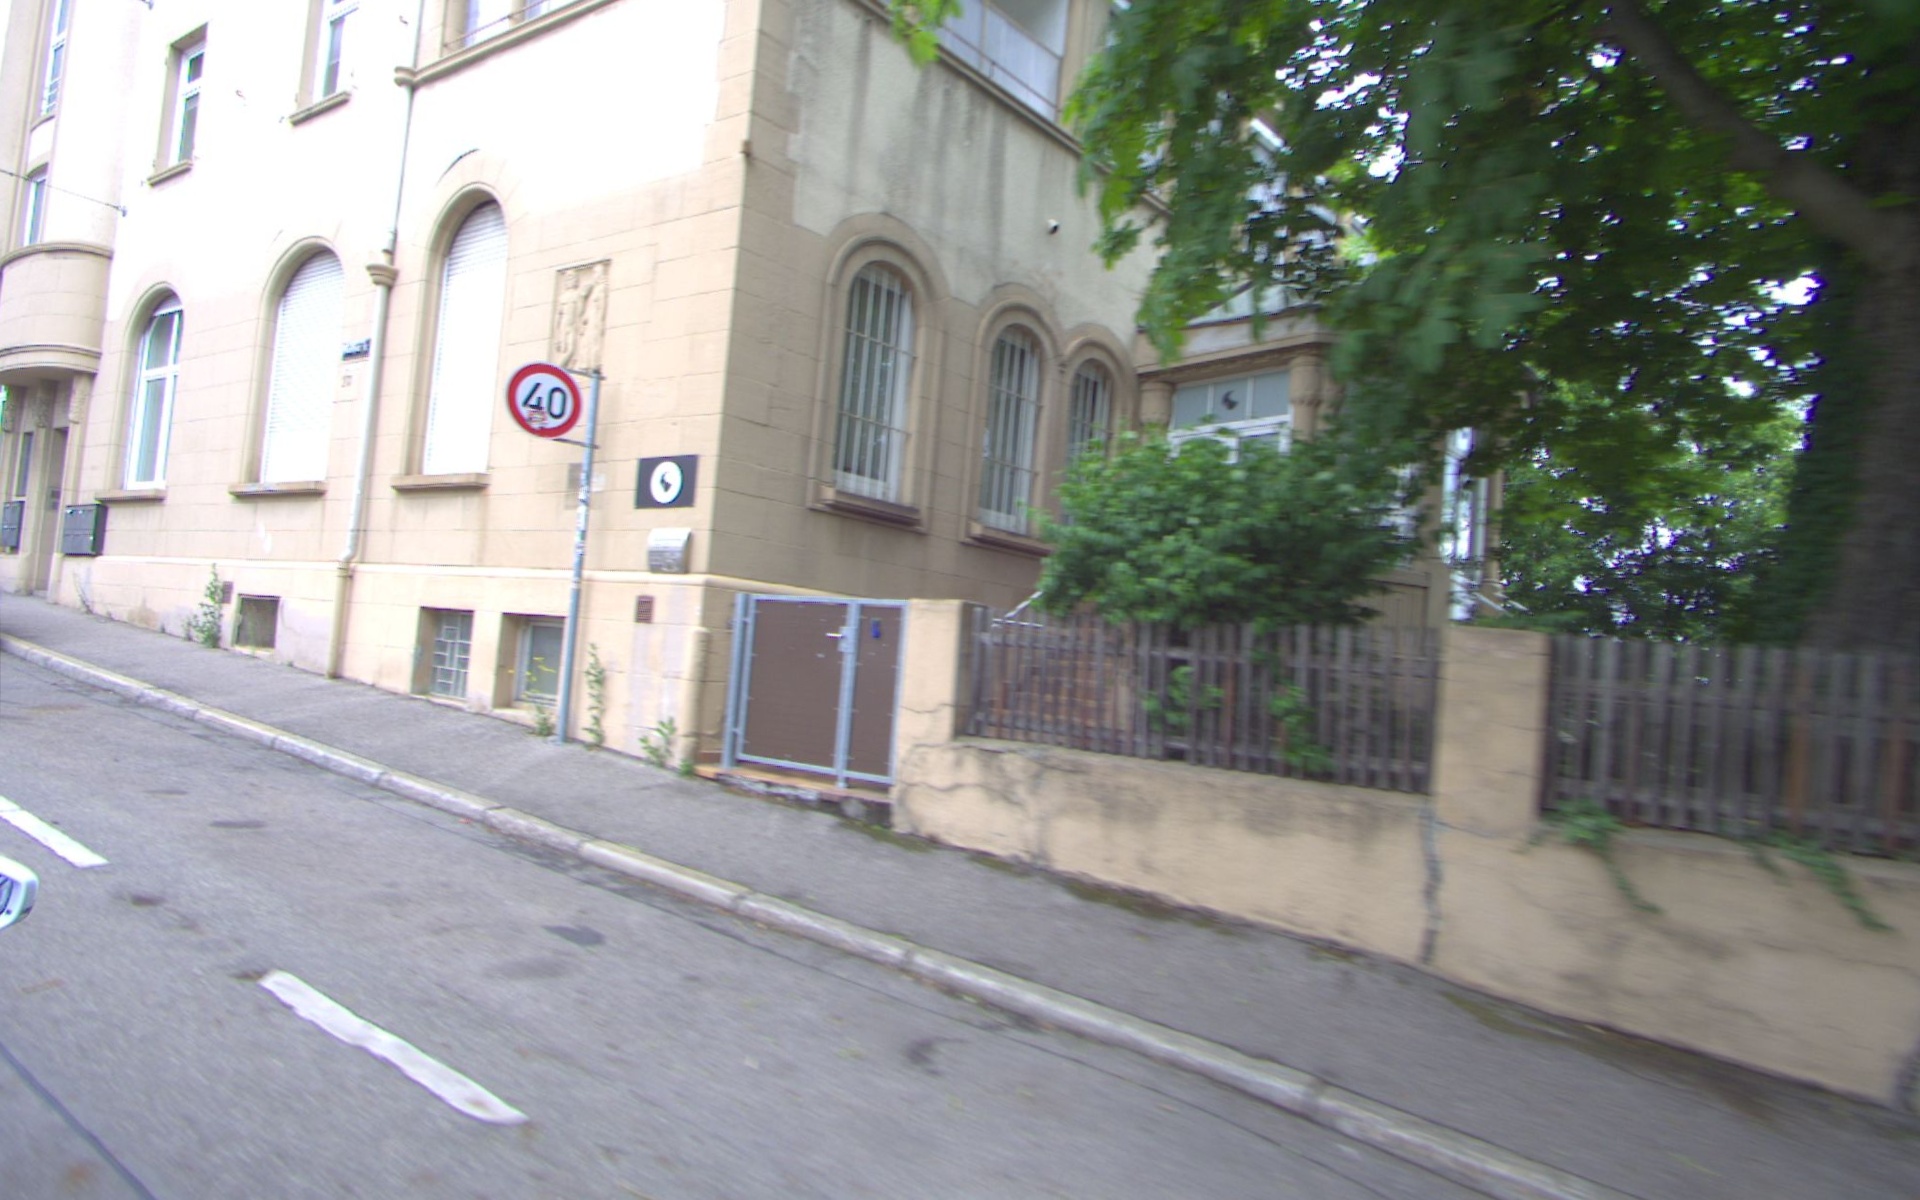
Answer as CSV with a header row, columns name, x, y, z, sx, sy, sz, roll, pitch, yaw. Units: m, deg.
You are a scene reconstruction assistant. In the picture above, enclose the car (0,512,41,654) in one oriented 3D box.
name,x,y,z,sx,sy,sz,roll,pitch,yaw
car,-11.826,-0.448,10.714,4.099,1.417,1.845,6,-4,32
